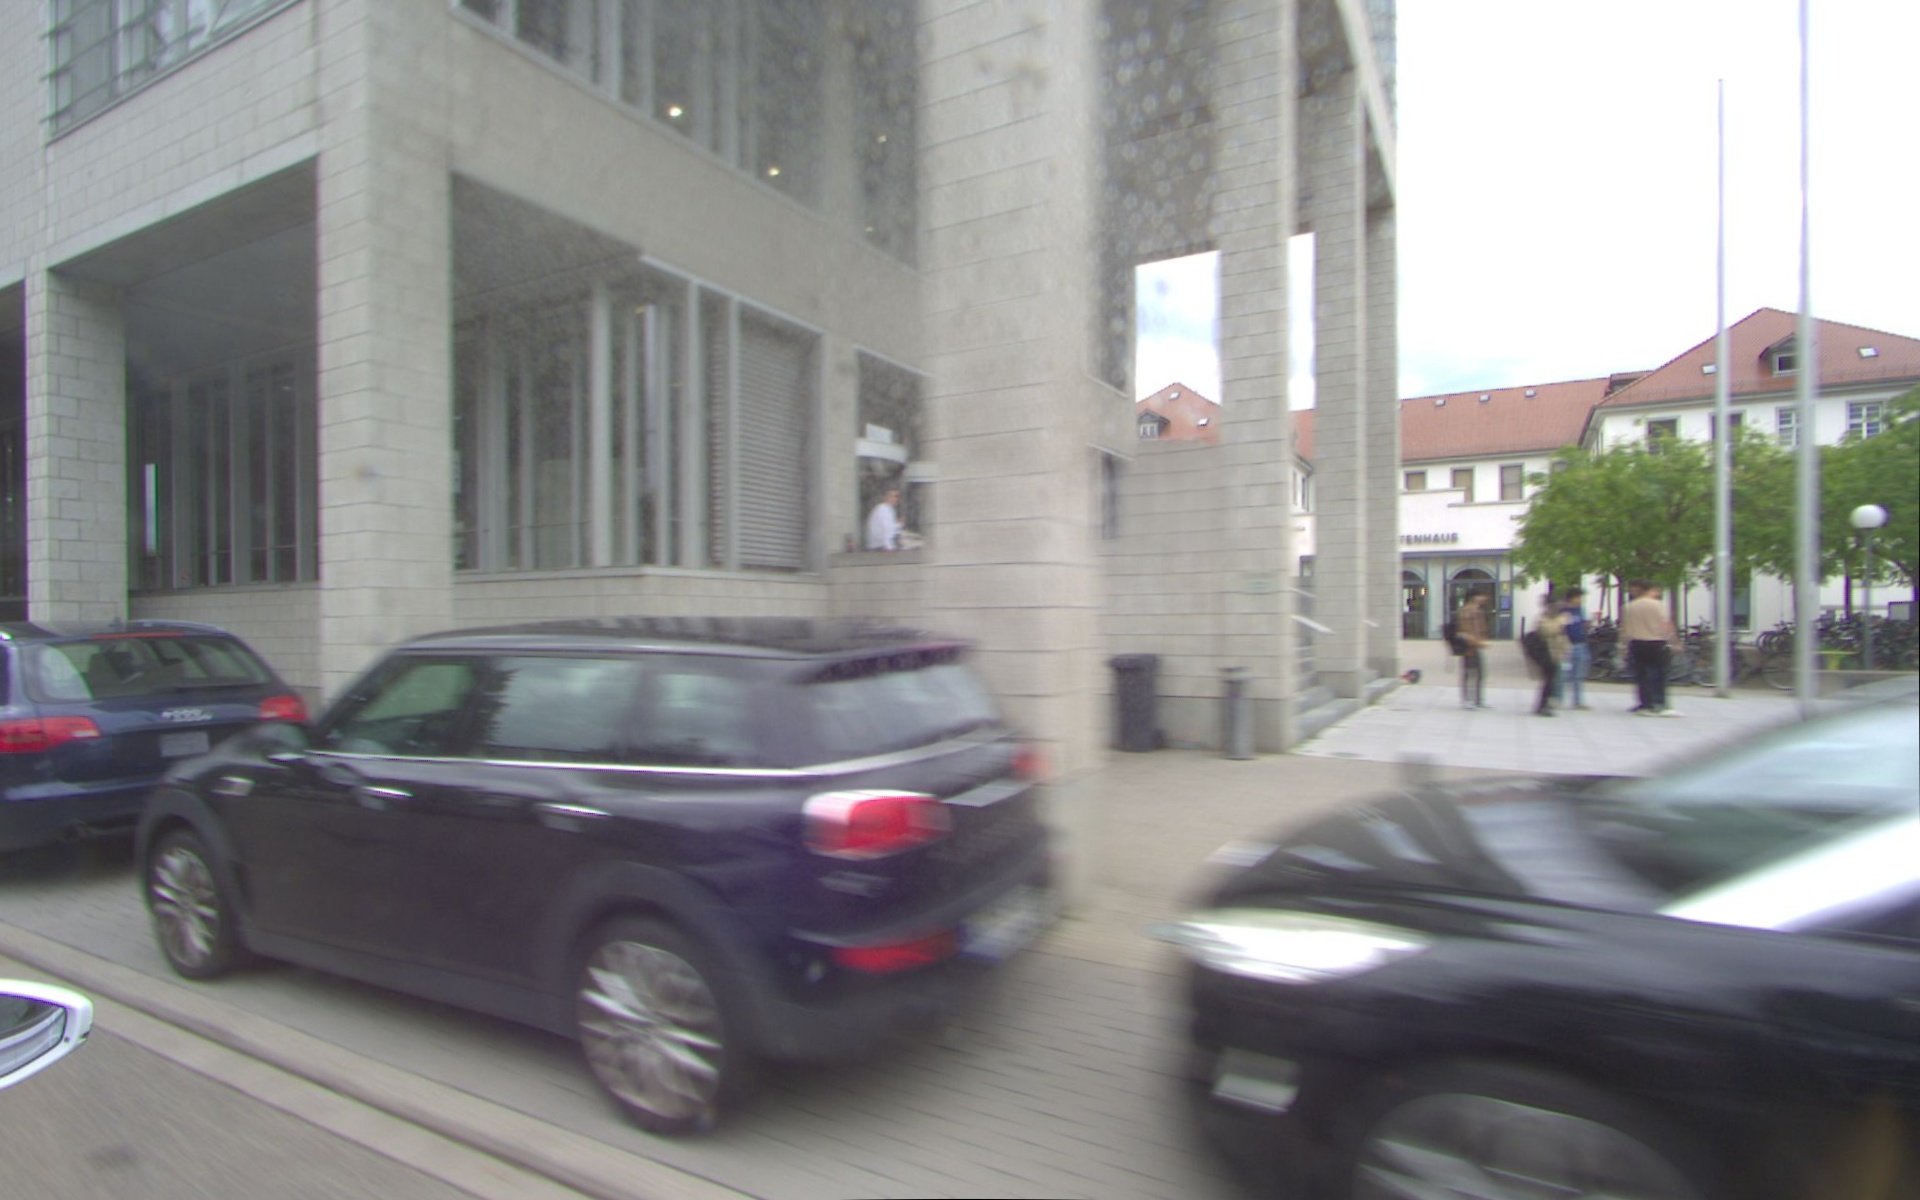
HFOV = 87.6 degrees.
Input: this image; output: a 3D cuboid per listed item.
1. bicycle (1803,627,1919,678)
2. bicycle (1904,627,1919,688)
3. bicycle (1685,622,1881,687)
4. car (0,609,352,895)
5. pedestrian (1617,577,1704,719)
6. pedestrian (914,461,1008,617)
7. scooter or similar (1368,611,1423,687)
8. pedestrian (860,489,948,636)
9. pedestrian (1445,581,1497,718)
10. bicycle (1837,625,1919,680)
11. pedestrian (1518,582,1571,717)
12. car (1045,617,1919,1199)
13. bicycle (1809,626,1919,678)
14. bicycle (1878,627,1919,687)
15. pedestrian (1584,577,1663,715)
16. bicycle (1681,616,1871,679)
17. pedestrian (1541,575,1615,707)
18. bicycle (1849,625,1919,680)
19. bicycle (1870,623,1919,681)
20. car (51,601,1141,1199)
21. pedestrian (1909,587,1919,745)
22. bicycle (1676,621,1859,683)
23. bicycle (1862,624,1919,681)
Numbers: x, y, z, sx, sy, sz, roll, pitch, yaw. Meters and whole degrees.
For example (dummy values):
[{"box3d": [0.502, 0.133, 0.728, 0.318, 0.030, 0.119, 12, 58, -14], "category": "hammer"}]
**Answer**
[{"box3d": [23.756, 1.352, 25.731, 3.061, 1.185, 0.744, 2, 0, 31], "category": "bicycle"}, {"box3d": [19.901, 1.158, 18.792, 3.062, 1.185, 0.619, 2, 0, 32], "category": "bicycle"}, {"box3d": [17.154, 1.111, 20.999, 3.062, 1.185, 0.744, 2, 0, 32], "category": "bicycle"}, {"box3d": [-6.667, 0.836, 7.047, 4.849, 1.471, 1.991, -1, -1, 30], "category": "car"}, {"box3d": [9.232, 0.622, 13.220, 0.723, 1.808, 0.763, 0, 0, 16], "category": "pedestrian"}, {"box3d": [0.015, -0.663, 11.402, 0.797, 1.680, 0.627, 3, 0, -36], "category": "pedestrian"}, {"box3d": [8.384, 0.927, 19.326, 0.397, 1.387, 1.492, 2, -1, 2], "category": "scooter or similar"}, {"box3d": [-0.672, -0.431, 12.020, 0.625, 1.680, 0.799, 2, 0, -44], "category": "pedestrian"}, {"box3d": [7.181, 0.692, 14.066, 0.611, 1.864, 0.590, 0, -2, 31], "category": "pedestrian"}, {"box3d": [22.174, 1.231, 22.904, 3.062, 1.185, 0.744, 2, 0, 32], "category": "bicycle"}, {"box3d": [7.791, 0.645, 13.348, 0.594, 1.738, 0.775, 0, 0, 30], "category": "pedestrian"}, {"box3d": [2.523, 0.819, 1.836, 4.352, 1.461, 1.846, 1, 0, 31], "category": "car"}, {"box3d": [23.354, 1.322, 25.067, 3.061, 1.185, 0.744, 2, 0, 31], "category": "bicycle"}, {"box3d": [20.578, 1.211, 20.082, 3.062, 1.185, 0.744, 2, 0, 32], "category": "bicycle"}, {"box3d": [9.363, 0.639, 14.157, 0.592, 1.889, 0.779, -1, 0, 1], "category": "pedestrian"}, {"box3d": [17.561, 0.994, 21.675, 3.062, 1.185, 0.744, 2, -1, 32], "category": "bicycle"}, {"box3d": [8.772, 0.574, 14.235, 0.723, 1.808, 0.721, 0, 0, 16], "category": "pedestrian"}, {"box3d": [21.844, 1.204, 22.193, 3.062, 1.185, 0.744, 2, 0, 32], "category": "bicycle"}, {"box3d": [21.092, 1.147, 20.844, 3.062, 1.185, 0.744, 2, 0, 32], "category": "bicycle"}, {"box3d": [-1.668, 0.767, 4.210, 4.451, 1.462, 1.816, -1, 1, 29], "category": "car"}, {"box3d": [10.413, 0.696, 10.158, 0.917, 1.662, 0.734, 2, 0, 28], "category": "pedestrian"}, {"box3d": [17.933, 1.136, 22.361, 3.062, 1.185, 0.744, 2, 0, 32], "category": "bicycle"}, {"box3d": [21.508, 1.177, 21.503, 3.062, 1.185, 0.744, 2, 0, 32], "category": "bicycle"}]
